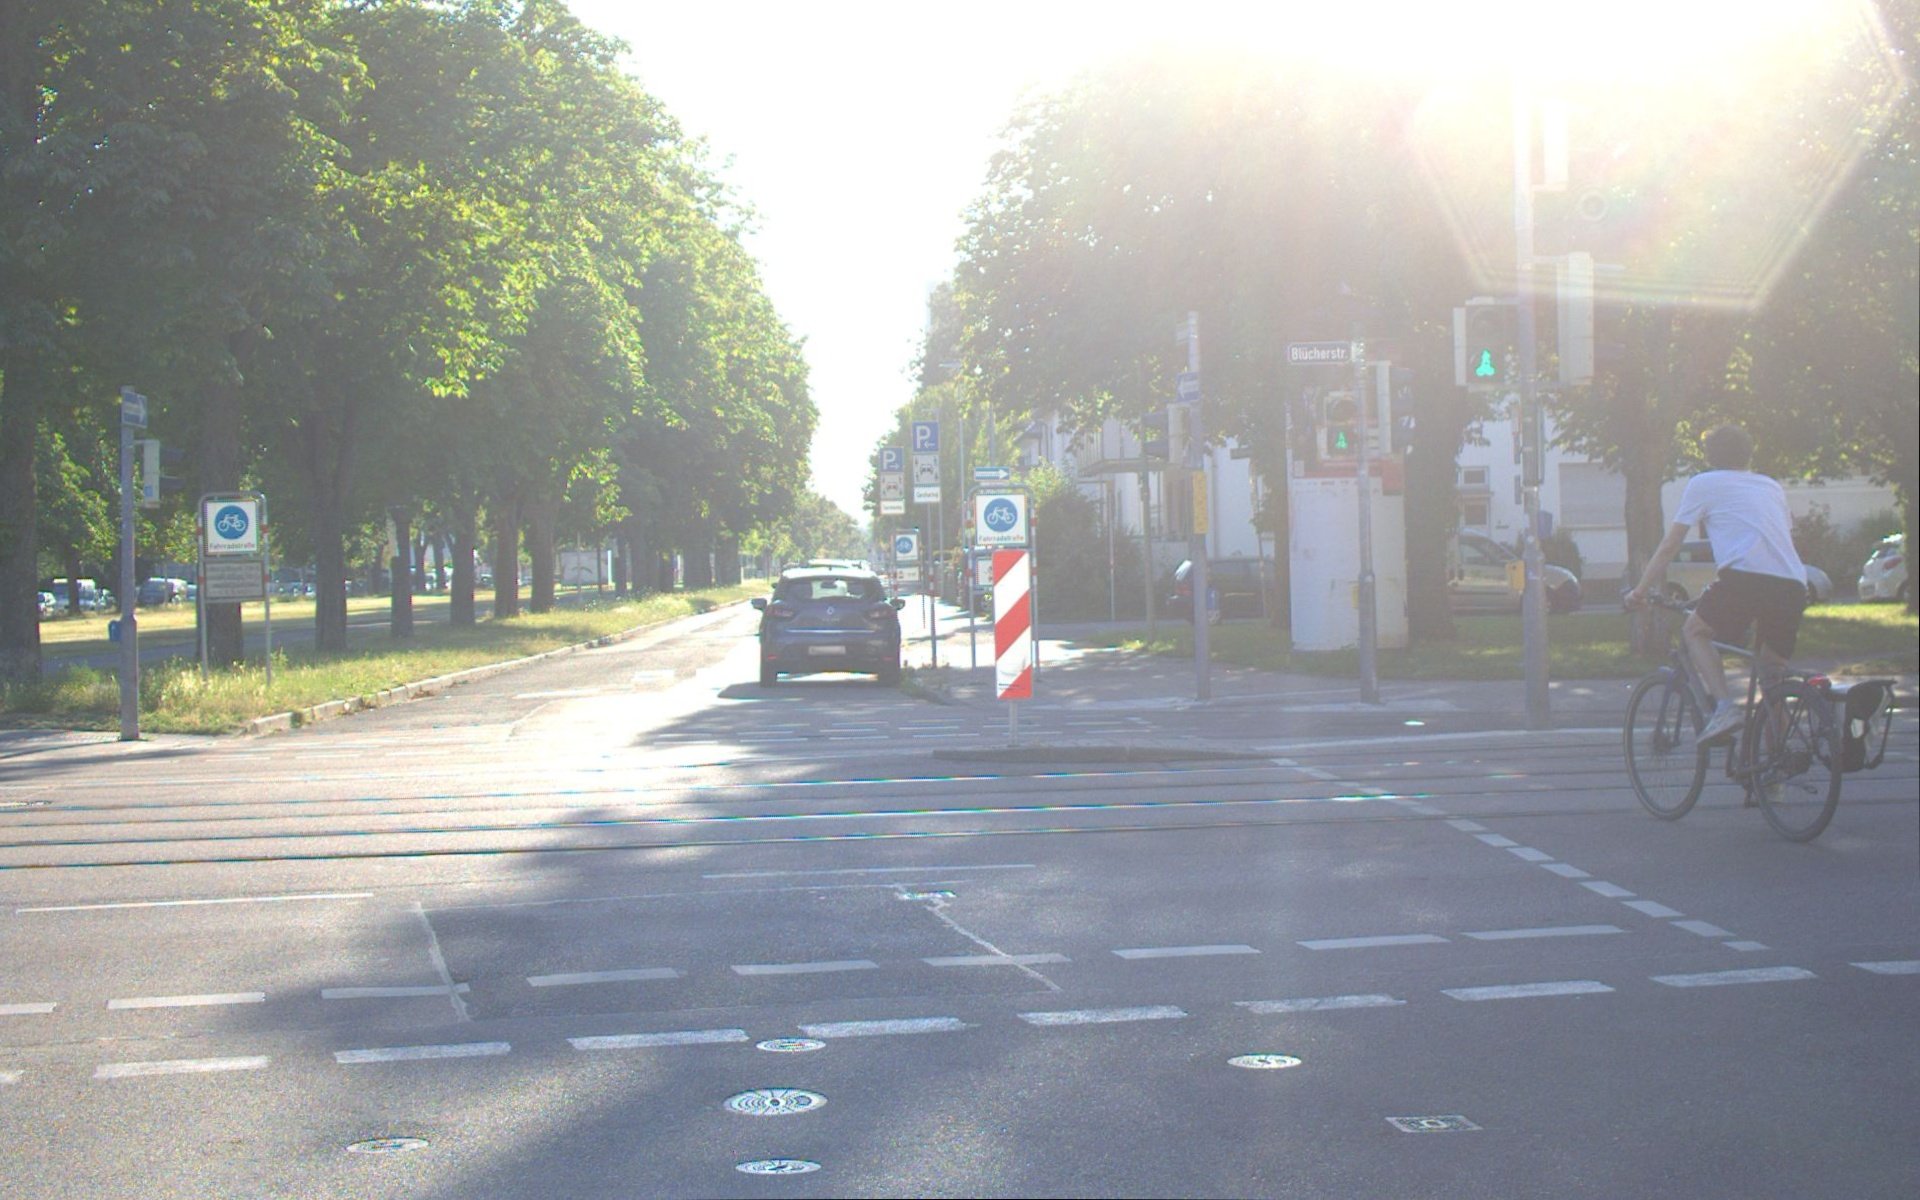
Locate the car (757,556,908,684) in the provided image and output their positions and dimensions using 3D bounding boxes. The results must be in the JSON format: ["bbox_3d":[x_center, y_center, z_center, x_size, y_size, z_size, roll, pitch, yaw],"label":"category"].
[{"bbox_3d":[-1.559,0.254,43.431,1.725,1.506,4.540,1,0,0],"label":"car"}]

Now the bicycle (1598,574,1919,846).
[{"bbox_3d":[3.657,0.477,15.880,0.572,1.180,1.906,1,0,-17],"label":"bicycle"}]

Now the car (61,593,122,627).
[{"bbox_3d":[-42.133,0.491,166.844,2.022,1.653,3.984,1,0,-1],"label":"car"}]

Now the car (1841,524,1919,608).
[{"bbox_3d":[18.699,-0.637,64.467,3.920,1.518,1.524,0,-1,-6],"label":"car"}]

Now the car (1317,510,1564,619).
[{"bbox_3d":[8.941,-0.647,64.218,4.241,1.868,2.031,-2,0,-2],"label":"car"}]

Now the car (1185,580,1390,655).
[{"bbox_3d":[6.725,0.360,70.784,3.986,1.442,1.716,-1,0,-2],"label":"car"}]

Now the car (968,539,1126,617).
[{"bbox_3d":[2.327,-0.587,92.361,3.986,1.816,1.760,-2,-5,-5],"label":"car"}]

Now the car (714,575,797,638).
[{"bbox_3d":[-4.541,0.145,76.780,1.709,1.355,4.203,1,0,-1],"label":"car"}]

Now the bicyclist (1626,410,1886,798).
[{"bbox_3d":[3.656,0.022,15.836,0.814,1.726,0.894,1,-1,-18],"label":"bicyclist"}]

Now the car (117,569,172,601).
[{"bbox_3d":[-44.209,-0.845,186.473,1.993,1.653,4.571,-1,1,-2],"label":"car"}]

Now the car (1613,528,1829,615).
[{"bbox_3d":[14.116,-0.522,63.888,3.552,1.511,1.606,-1,0,-7],"label":"car"}]

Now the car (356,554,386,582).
[{"bbox_3d":[-43.339,-2.379,252.962,1.654,1.932,3.567,1,-1,-2],"label":"car"}]

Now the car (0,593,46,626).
[{"bbox_3d":[-47.338,0.479,172.158,1.993,1.653,4.355,1,0,0],"label":"car"}]
